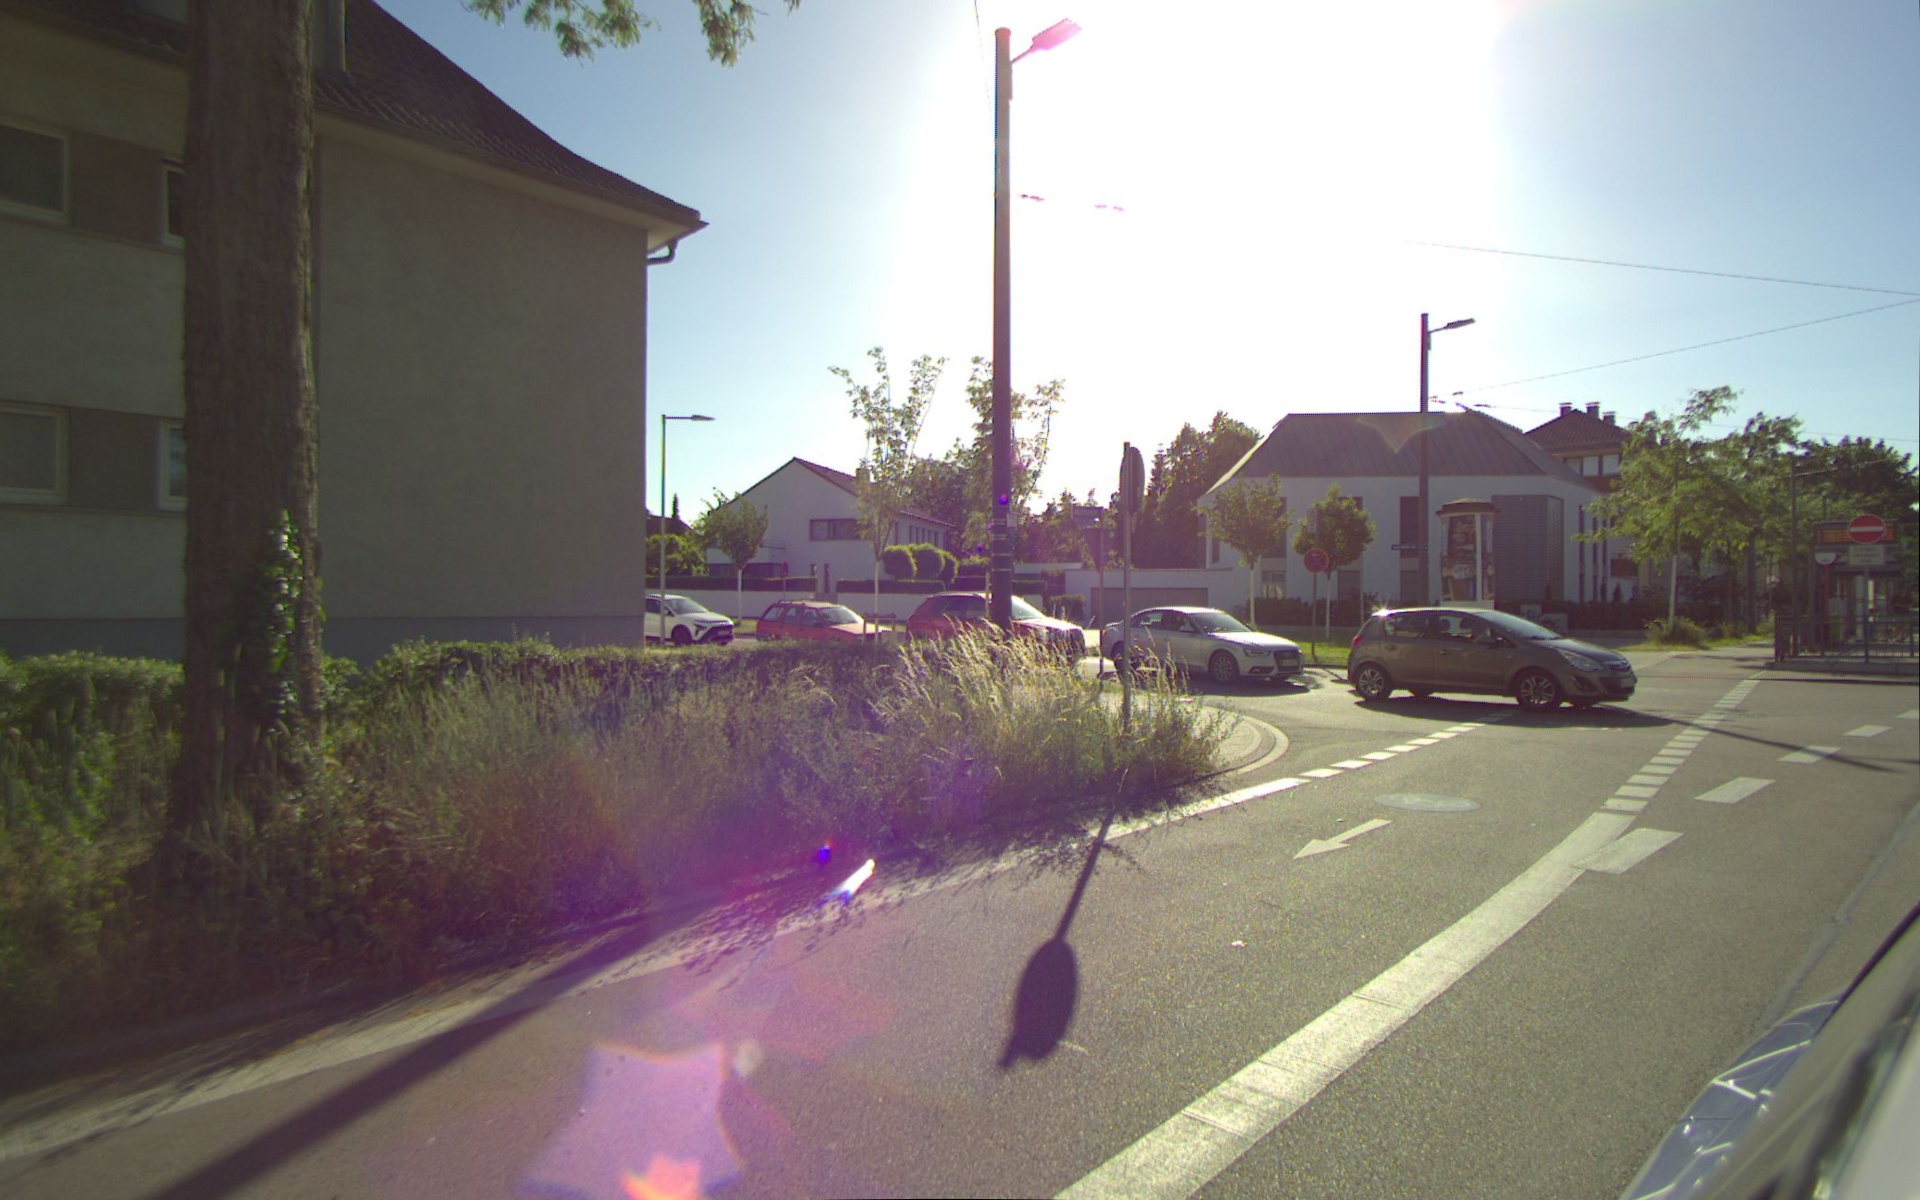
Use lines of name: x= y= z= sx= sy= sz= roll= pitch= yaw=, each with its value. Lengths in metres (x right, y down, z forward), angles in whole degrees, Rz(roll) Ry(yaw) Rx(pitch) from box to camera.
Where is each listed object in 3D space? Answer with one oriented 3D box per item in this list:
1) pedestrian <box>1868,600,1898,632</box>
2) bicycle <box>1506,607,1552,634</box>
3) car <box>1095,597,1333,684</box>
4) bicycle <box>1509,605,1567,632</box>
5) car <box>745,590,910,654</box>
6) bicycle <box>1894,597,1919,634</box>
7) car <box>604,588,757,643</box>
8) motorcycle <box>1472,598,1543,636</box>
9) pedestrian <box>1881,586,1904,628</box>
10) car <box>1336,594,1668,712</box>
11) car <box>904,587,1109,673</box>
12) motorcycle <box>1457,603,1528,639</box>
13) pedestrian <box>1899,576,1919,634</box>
pedestrian: x=33.293 y=0.587 z=36.506 sx=0.738 sy=1.132 sz=0.648 roll=-2 pitch=-2 yaw=44
bicycle: x=21.199 y=0.751 z=37.723 sx=1.467 sy=0.991 sz=0.410 roll=0 pitch=0 yaw=39
car: x=5.021 y=0.722 z=20.662 sx=1.944 sy=1.484 sz=4.620 roll=-2 pitch=1 yaw=-33
bicycle: x=22.167 y=0.704 z=38.826 sx=1.894 sy=0.991 sz=0.484 roll=0 pitch=0 yaw=39
car: x=-3.466 y=0.526 z=26.063 sx=4.156 sy=1.527 sz=1.953 roll=0 pitch=0 yaw=40
bicycle: x=32.763 y=0.524 z=34.956 sx=0.619 sy=1.245 sz=1.938 roll=-1 pitch=-1 yaw=40
car: x=-8.188 y=0.437 z=29.619 sx=4.137 sy=1.527 sz=1.963 roll=0 pitch=0 yaw=28
motorcycle: x=18.957 y=0.573 z=35.070 sx=2.073 sy=1.290 sz=0.850 roll=0 pitch=0 yaw=39
pedestrian: x=39.226 y=0.296 z=42.566 sx=0.671 sy=1.726 sz=0.680 roll=-2 pitch=-2 yaw=44
car: x=8.051 y=0.698 z=15.357 sx=1.944 sy=1.527 sz=3.999 roll=0 pitch=0 yaw=-35
car: x=0.926 y=0.589 z=21.692 sx=4.162 sy=1.663 sz=1.951 roll=0 pitch=-1 yaw=44
motorcycle: x=17.897 y=0.687 z=34.008 sx=1.994 sy=1.172 sz=0.850 roll=0 pitch=0 yaw=39
pedestrian: x=31.437 y=0.169 z=33.287 sx=0.717 sy=1.877 sz=0.711 roll=1 pitch=-2 yaw=-43
